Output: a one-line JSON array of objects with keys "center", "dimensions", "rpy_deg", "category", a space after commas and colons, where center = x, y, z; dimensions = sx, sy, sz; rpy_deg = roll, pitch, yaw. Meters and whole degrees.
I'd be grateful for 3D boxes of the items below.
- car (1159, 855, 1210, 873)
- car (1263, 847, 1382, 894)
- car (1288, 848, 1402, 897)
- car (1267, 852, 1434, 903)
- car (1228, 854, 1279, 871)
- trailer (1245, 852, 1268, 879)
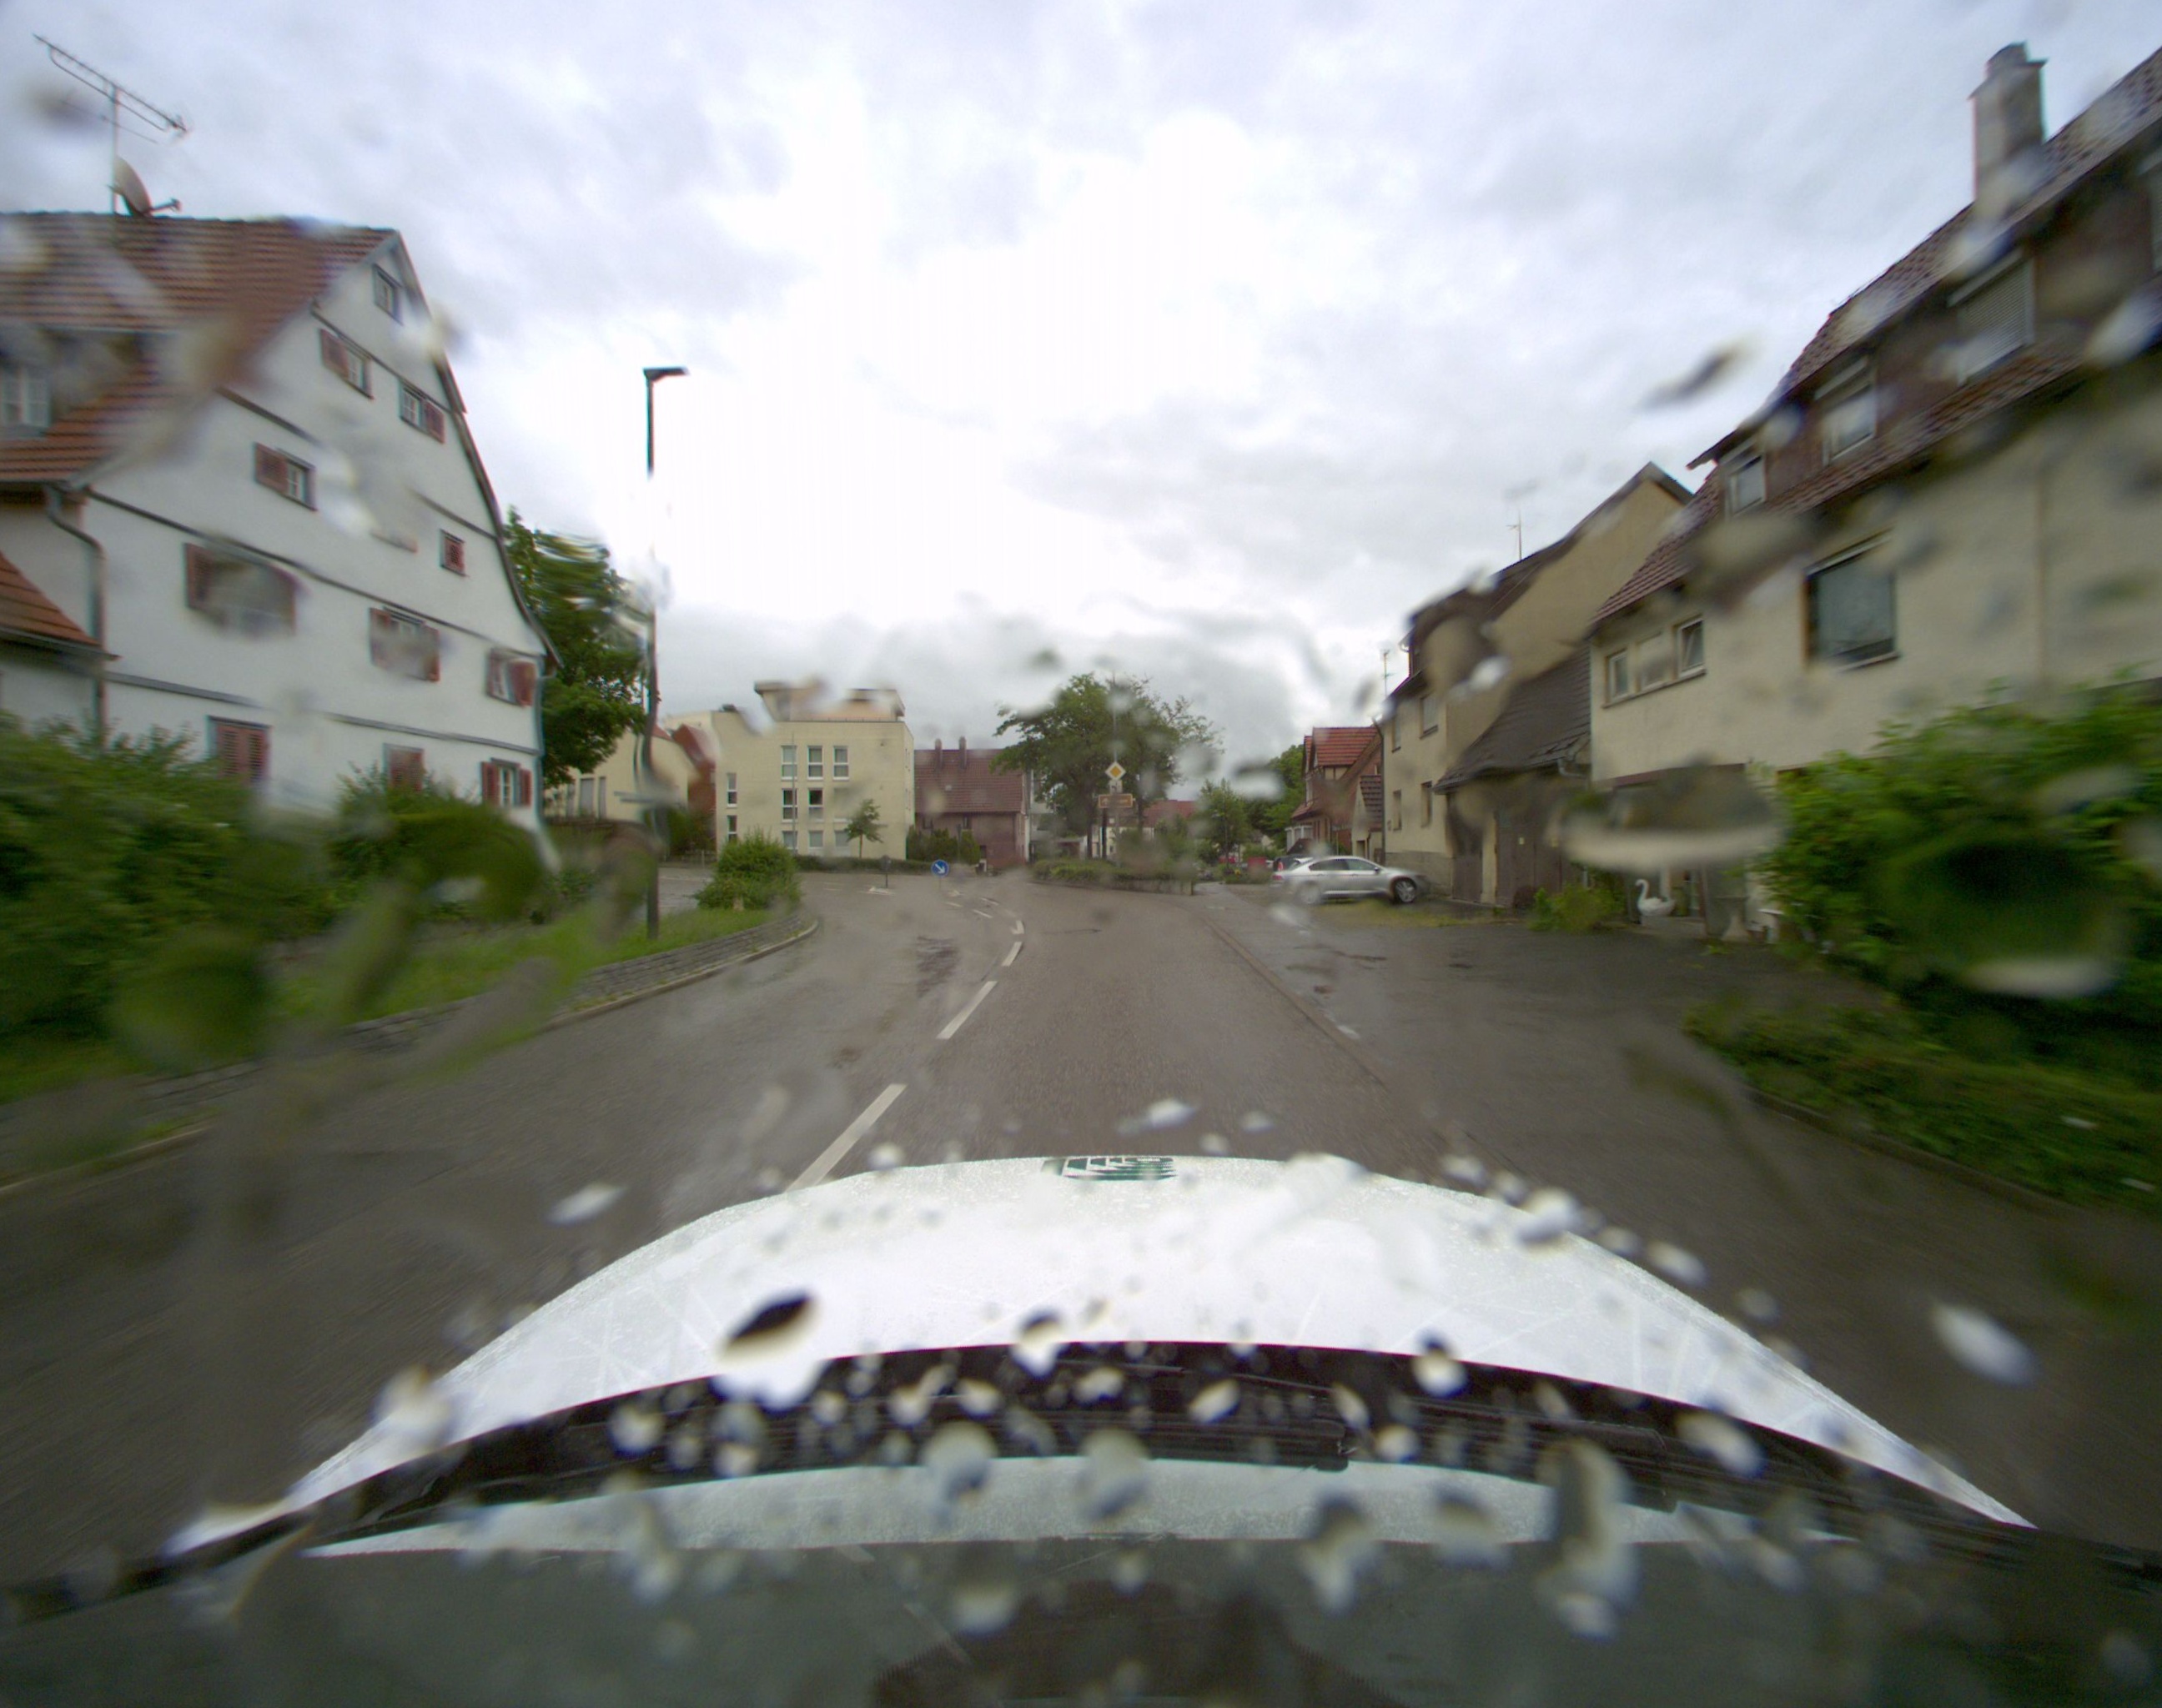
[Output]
[{"center": [7.872, 0.758, 61.895], "dimensions": [3.746, 1.338, 1.718], "rpy_deg": [-1, 0, 8], "category": "car"}, {"center": [9.090, 0.630, 30.855], "dimensions": [3.972, 1.583, 1.749], "rpy_deg": [-2, -1, 2], "category": "car"}, {"center": [8.990, 0.663, 27.957], "dimensions": [3.402, 1.530, 1.721], "rpy_deg": [-2, -4, 6], "category": "car"}, {"center": [8.101, 0.700, 24.851], "dimensions": [4.586, 1.415, 1.825], "rpy_deg": [-1, -1, 8], "category": "car"}, {"center": [16.785, 0.849, 79.140], "dimensions": [4.427, 1.552, 2.012], "rpy_deg": [1, 0, 28], "category": "car"}, {"center": [11.372, 0.717, 52.742], "dimensions": [1.398, 1.649, 2.734], "rpy_deg": [1, 0, 13], "category": "trailer"}]
